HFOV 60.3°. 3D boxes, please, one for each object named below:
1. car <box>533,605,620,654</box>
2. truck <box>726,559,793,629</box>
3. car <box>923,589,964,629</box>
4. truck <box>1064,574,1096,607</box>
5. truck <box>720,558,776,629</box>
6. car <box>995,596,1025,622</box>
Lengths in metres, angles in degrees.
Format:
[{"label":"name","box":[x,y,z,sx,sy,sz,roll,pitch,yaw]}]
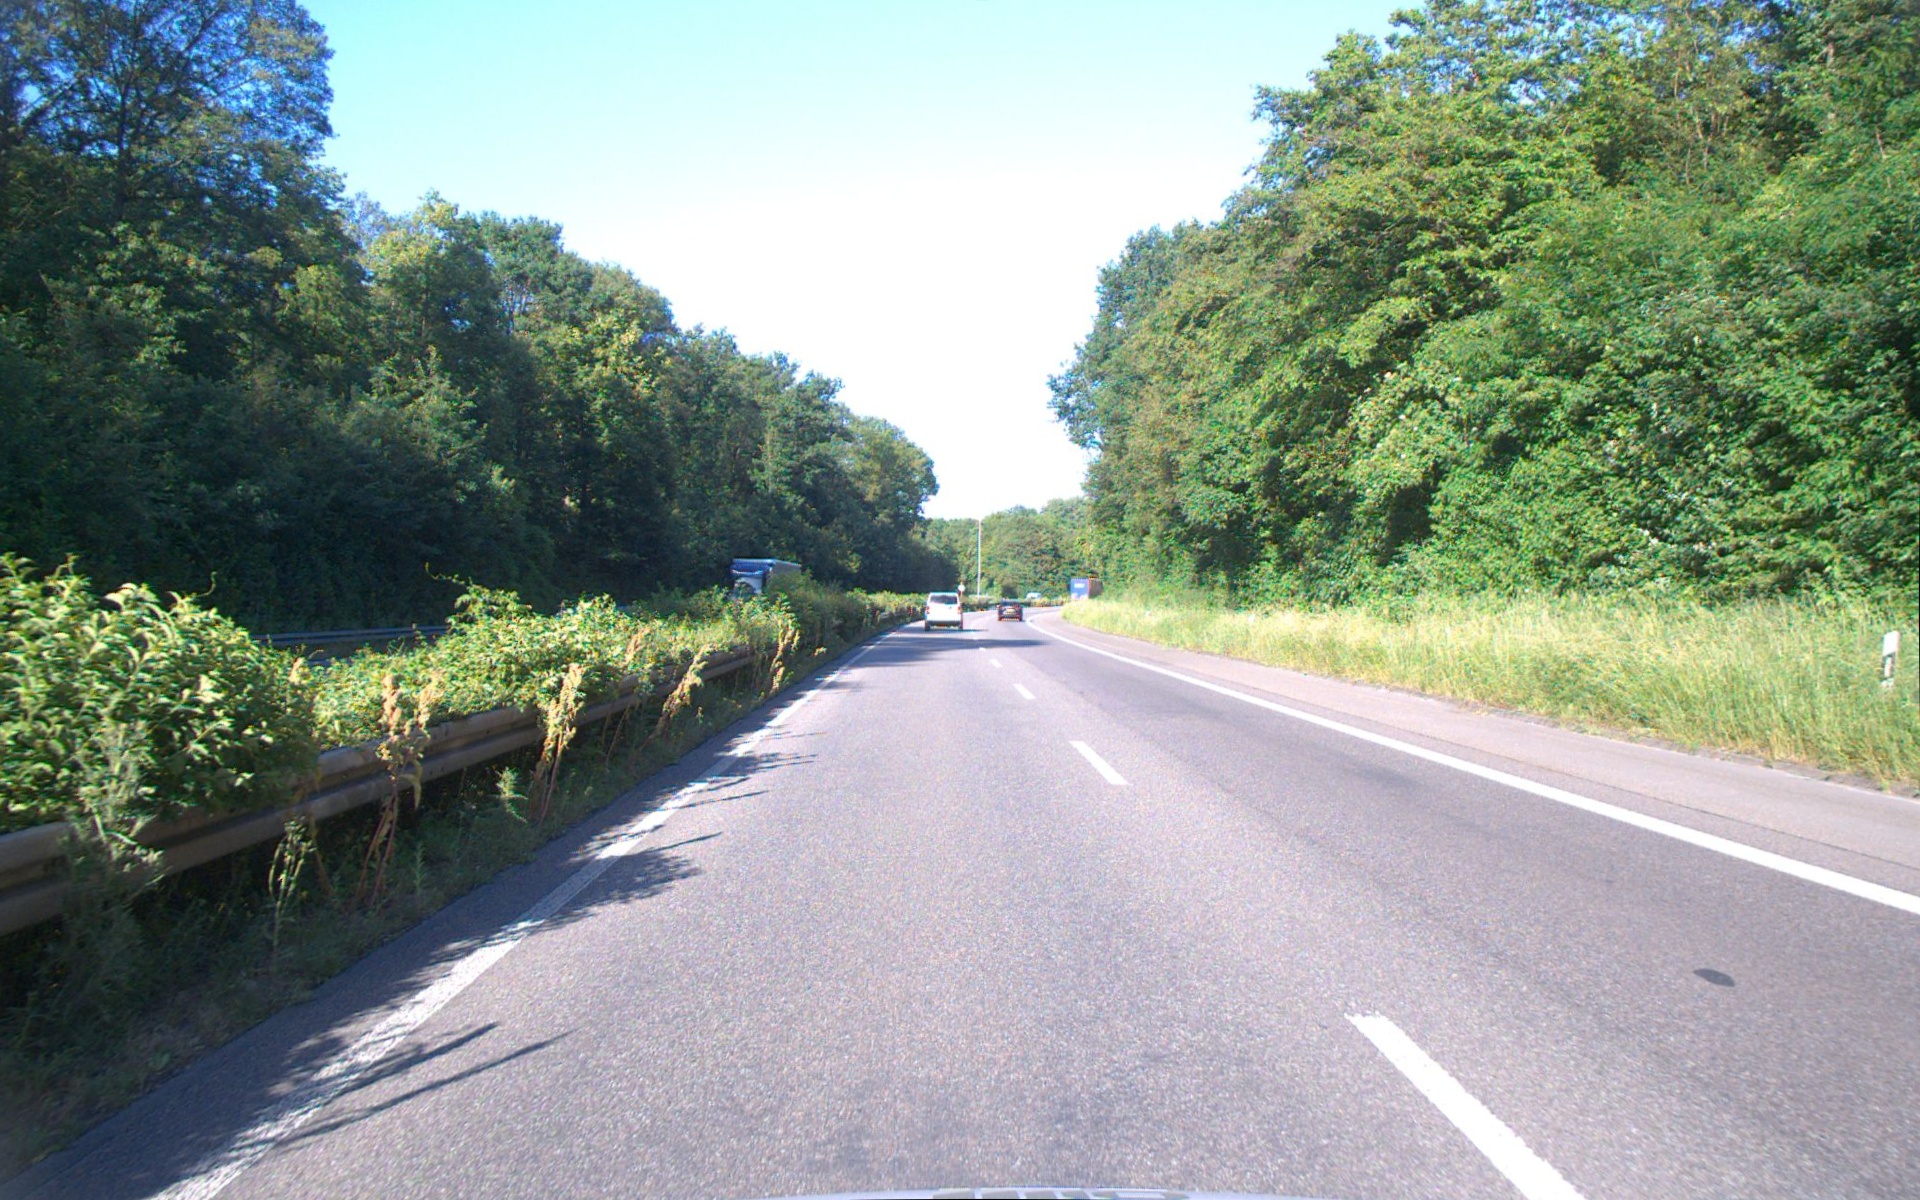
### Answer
[{"label":"car","box":[-12.182,0.919,52.794,1.763,1.467,4.435,1,0,-1]},{"label":"truck","box":[-12.771,-0.314,106.746,2.652,4.168,14.019,1,0,0]},{"label":"car","box":[-0.819,0.438,79.137,1.912,1.813,4.586,1,0,-2]},{"label":"truck","box":[16.805,-1.242,231.370,3.654,4.419,9.311,1,0,9]},{"label":"truck","box":[-12.740,-0.362,99.609,2.660,4.168,5.436,1,-1,0]},{"label":"car","box":[3.560,0.643,118.190,1.912,1.813,4.586,1,0,-2]}]
